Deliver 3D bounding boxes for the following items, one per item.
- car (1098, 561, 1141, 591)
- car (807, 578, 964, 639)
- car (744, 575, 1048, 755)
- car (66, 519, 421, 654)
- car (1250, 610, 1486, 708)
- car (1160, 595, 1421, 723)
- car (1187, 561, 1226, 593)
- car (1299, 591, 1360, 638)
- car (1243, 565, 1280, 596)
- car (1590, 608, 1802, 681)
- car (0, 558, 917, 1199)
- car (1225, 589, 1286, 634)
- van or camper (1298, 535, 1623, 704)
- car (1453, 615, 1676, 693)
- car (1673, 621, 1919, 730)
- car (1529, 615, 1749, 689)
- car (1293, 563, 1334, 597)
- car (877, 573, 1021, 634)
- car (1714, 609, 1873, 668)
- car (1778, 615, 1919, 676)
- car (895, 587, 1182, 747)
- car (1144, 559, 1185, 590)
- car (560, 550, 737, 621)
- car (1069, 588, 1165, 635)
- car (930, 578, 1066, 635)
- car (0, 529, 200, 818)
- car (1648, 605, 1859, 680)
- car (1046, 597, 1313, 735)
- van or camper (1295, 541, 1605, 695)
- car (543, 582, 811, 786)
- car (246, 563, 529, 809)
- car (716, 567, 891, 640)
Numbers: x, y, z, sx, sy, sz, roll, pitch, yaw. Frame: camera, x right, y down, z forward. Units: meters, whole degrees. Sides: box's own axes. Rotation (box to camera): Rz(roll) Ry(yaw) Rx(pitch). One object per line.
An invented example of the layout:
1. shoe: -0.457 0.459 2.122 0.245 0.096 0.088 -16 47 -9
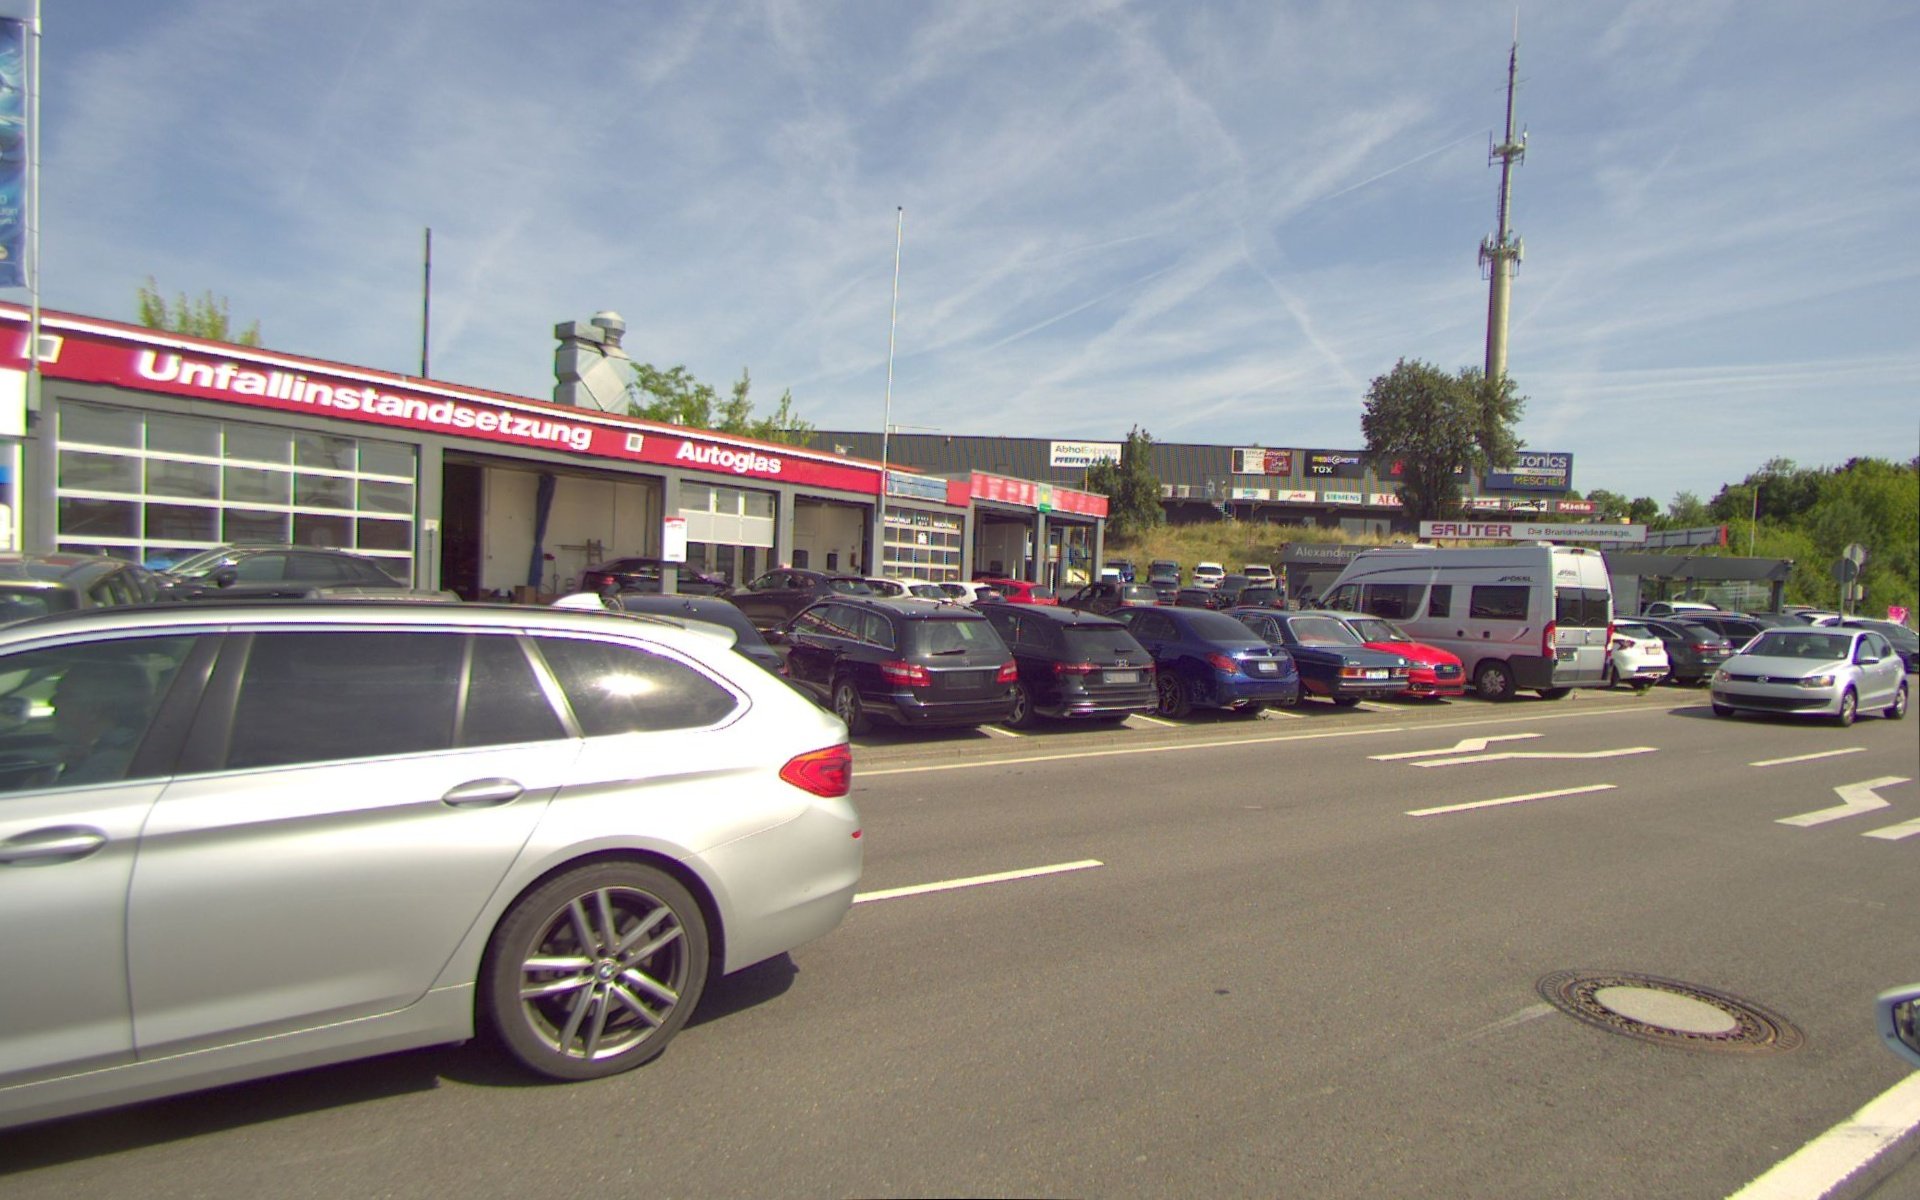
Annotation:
1. car: 8.730 -1.285 54.703 1.702 1.470 3.750 3 0 18
2. car: -1.952 0.198 25.852 3.767 1.451 1.763 1 0 36
3. car: -0.995 0.618 12.266 1.752 1.505 4.433 1 4 -32
4. car: -11.113 -0.158 15.868 1.797 1.696 4.116 8 3 34
5. car: 7.167 0.972 17.969 1.791 1.500 3.577 1 0 -30
6. car: 5.150 0.840 16.108 1.689 1.505 3.686 1 4 -32
7. car: 13.133 -1.200 53.360 1.702 1.558 3.750 3 0 18
8. car: 13.652 0.538 37.004 1.736 1.609 3.825 1 0 26
9. car: 15.691 -0.998 52.142 1.702 1.470 3.750 3 0 18
10. car: 17.941 1.035 24.637 1.822 1.560 3.796 1 0 -32
11. car: -2.670 0.664 3.235 4.725 1.541 1.900 1 0 -31
12. car: 11.306 0.432 38.689 1.733 1.609 3.831 1 0 9
13. van or camper: 9.350 0.292 19.329 2.184 2.768 5.221 1 1 -29
14. car: 13.149 1.111 22.064 1.822 1.467 3.796 1 0 -32
15. car: 13.296 1.119 15.868 4.033 1.467 1.827 1 0 -30
16. car: 15.552 1.128 23.198 1.822 1.467 3.796 1 0 -32
17. car: 16.944 -0.919 48.281 1.702 1.470 3.750 3 0 18
18. car: -0.344 0.085 28.344 3.767 1.609 1.763 1 0 36
19. car: 26.432 1.179 32.041 1.807 1.716 3.828 1 0 -2
20. car: 28.801 1.404 31.777 2.089 1.716 4.528 1 0 0
21. car: 0.865 0.743 13.203 1.782 1.505 3.822 1 4 -32
22. car: 11.056 -1.363 54.098 1.702 1.470 3.750 3 0 18
23. car: -8.072 -0.332 26.219 3.987 1.694 1.887 2 0 -44
24. car: 5.743 0.393 37.186 1.744 1.609 3.808 1 0 -23
25. car: 1.129 0.181 30.453 3.767 1.609 1.763 1 0 36
26. car: -7.440 0.383 7.984 1.786 1.740 3.865 1 4 -31
27. car: 20.034 1.014 25.504 1.822 1.698 3.796 1 0 -32
28. car: 3.048 0.825 14.650 1.689 1.577 3.686 0 3 -32
29. van or camper: 10.509 0.290 22.175 2.262 2.912 5.864 1 1 -30
30. car: -3.303 0.721 11.057 1.777 1.505 4.276 1 4 -30
31. car: -5.349 0.562 9.324 1.816 1.505 4.252 1 4 -32
32. car: -3.659 0.061 23.229 3.886 1.553 1.763 1 0 36
